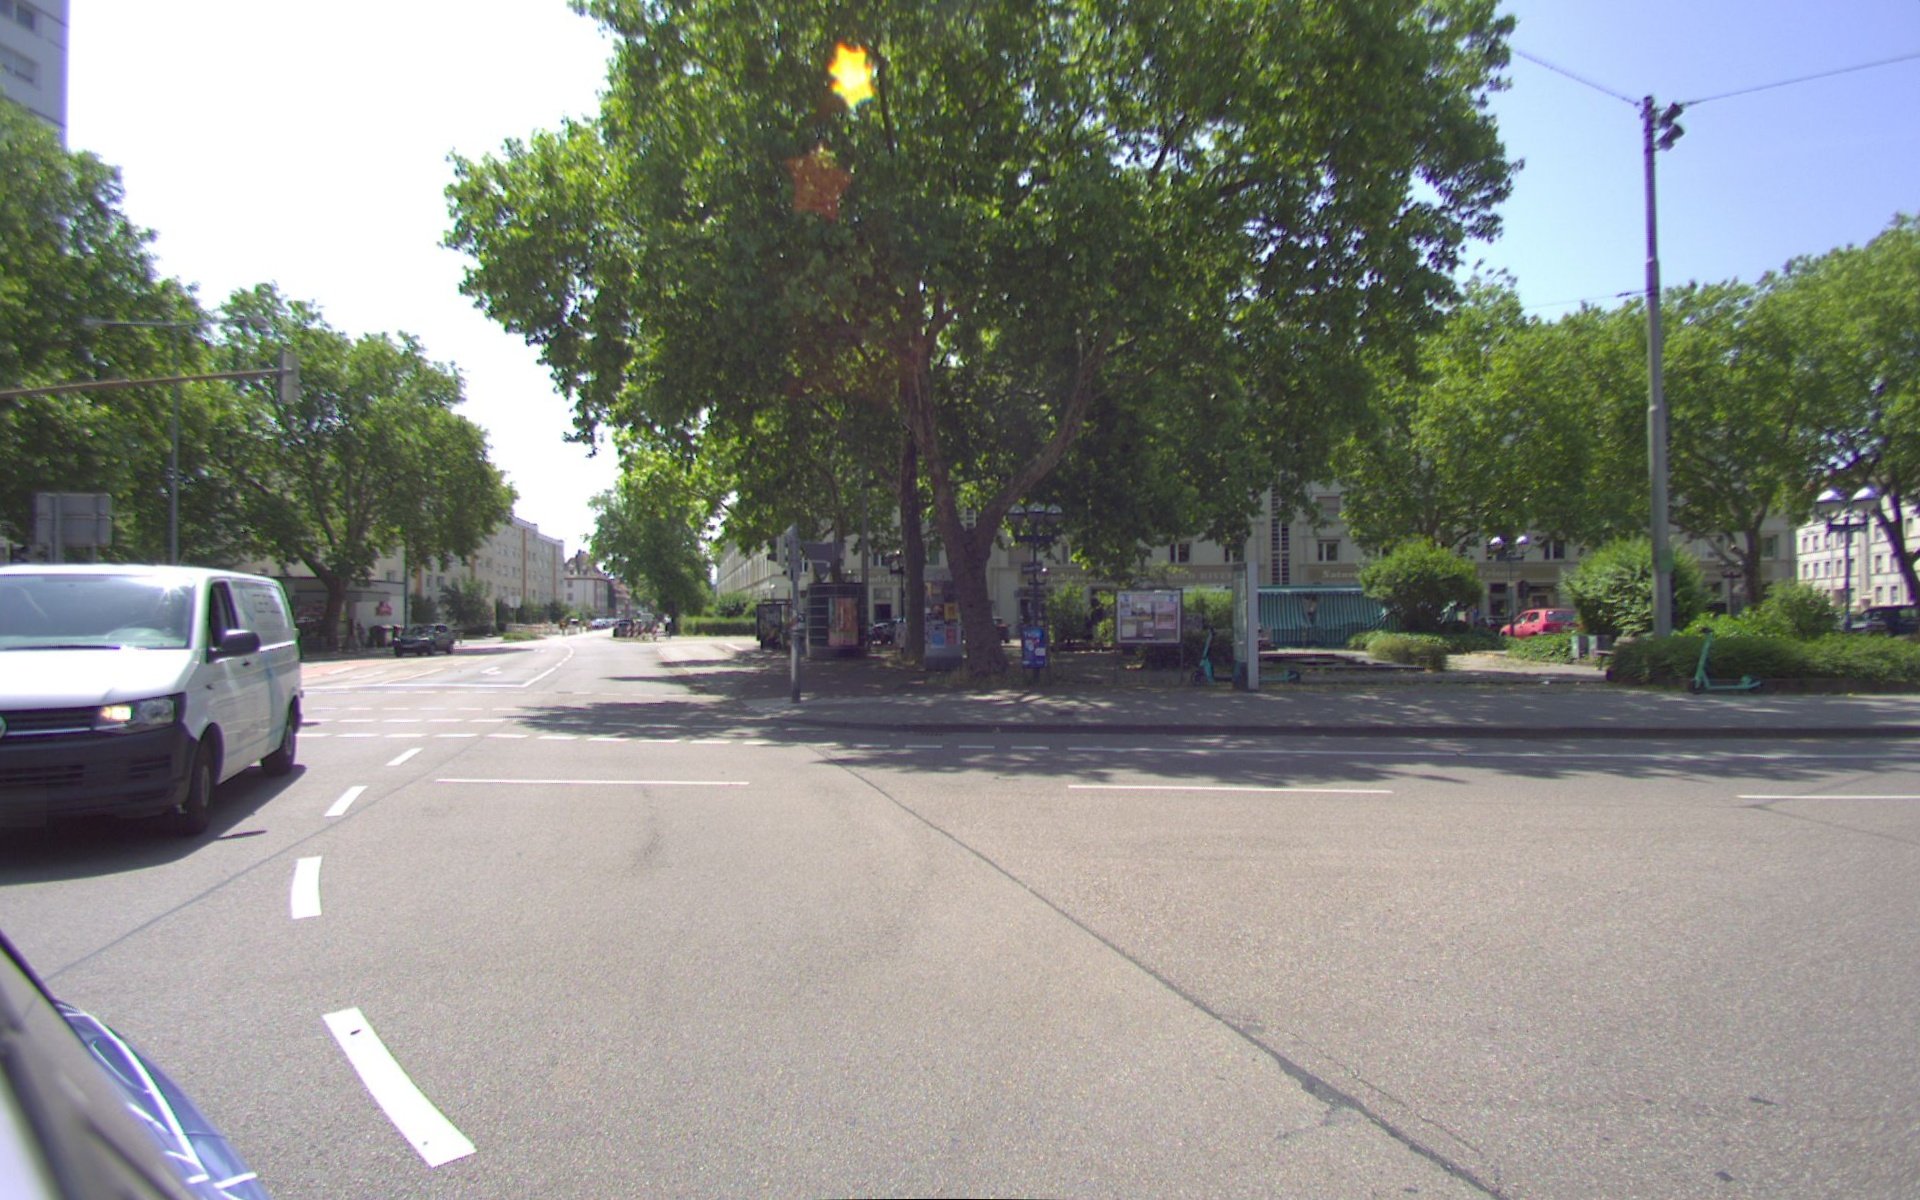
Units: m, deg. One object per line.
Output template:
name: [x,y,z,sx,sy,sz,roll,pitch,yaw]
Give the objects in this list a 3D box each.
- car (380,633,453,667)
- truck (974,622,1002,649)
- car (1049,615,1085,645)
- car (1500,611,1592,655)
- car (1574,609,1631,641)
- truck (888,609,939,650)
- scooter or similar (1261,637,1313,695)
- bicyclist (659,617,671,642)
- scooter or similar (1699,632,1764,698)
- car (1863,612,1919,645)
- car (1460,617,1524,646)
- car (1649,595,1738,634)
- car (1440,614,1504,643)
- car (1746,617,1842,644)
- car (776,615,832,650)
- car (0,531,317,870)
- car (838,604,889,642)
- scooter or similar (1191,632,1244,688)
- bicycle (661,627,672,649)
car: [-27.188,2.487,50.777,1.916,1.472,4.064,-1,0,-8]
truck: [1.566,1.954,56.413,1.450,1.388,2.979,-1,0,3]
car: [5.992,1.638,56.534,1.911,1.613,3.992,-1,-1,6]
car: [20.552,1.127,35.637,1.453,1.394,3.341,-1,0,4]
car: [40.755,1.563,64.252,1.555,1.964,3.917,-1,0,8]
truck: [-2.589,1.638,57.452,1.944,2.138,4.357,-1,0,11]
scooter or similar: [6.536,1.305,20.242,0.969,1.129,0.256,-1,0,18]
bicyclist: [-21.542,2.142,73.908,0.694,1.748,0.789,-1,0,-10]
scooter or similar: [13.426,1.119,17.620,0.853,1.129,0.256,-1,0,18]
car: [47.980,1.402,50.877,1.711,1.499,3.847,-4,-1,2]
car: [28.650,1.651,54.643,1.601,1.420,3.922,-1,0,4]
car: [38.566,0.732,53.363,2.141,1.964,3.990,-1,0,8]
car: [21.183,1.183,41.967,1.339,1.106,2.737,-1,0,2]
car: [43.461,1.558,52.841,1.898,1.264,3.847,-1,0,3]
car: [-8.791,1.814,57.351,1.977,1.913,3.989,-1,-1,9]
car: [-6.711,0.684,8.116,1.821,1.968,4.959,-1,-2,-23]
car: [-5.453,1.288,57.633,1.977,2.029,3.989,-1,0,9]
scooter or similar: [5.247,1.216,20.606,1.028,1.129,0.256,-1,-1,18]
bicycle: [-21.548,2.769,74.377,0.587,1.566,1.847,-1,0,-10]
